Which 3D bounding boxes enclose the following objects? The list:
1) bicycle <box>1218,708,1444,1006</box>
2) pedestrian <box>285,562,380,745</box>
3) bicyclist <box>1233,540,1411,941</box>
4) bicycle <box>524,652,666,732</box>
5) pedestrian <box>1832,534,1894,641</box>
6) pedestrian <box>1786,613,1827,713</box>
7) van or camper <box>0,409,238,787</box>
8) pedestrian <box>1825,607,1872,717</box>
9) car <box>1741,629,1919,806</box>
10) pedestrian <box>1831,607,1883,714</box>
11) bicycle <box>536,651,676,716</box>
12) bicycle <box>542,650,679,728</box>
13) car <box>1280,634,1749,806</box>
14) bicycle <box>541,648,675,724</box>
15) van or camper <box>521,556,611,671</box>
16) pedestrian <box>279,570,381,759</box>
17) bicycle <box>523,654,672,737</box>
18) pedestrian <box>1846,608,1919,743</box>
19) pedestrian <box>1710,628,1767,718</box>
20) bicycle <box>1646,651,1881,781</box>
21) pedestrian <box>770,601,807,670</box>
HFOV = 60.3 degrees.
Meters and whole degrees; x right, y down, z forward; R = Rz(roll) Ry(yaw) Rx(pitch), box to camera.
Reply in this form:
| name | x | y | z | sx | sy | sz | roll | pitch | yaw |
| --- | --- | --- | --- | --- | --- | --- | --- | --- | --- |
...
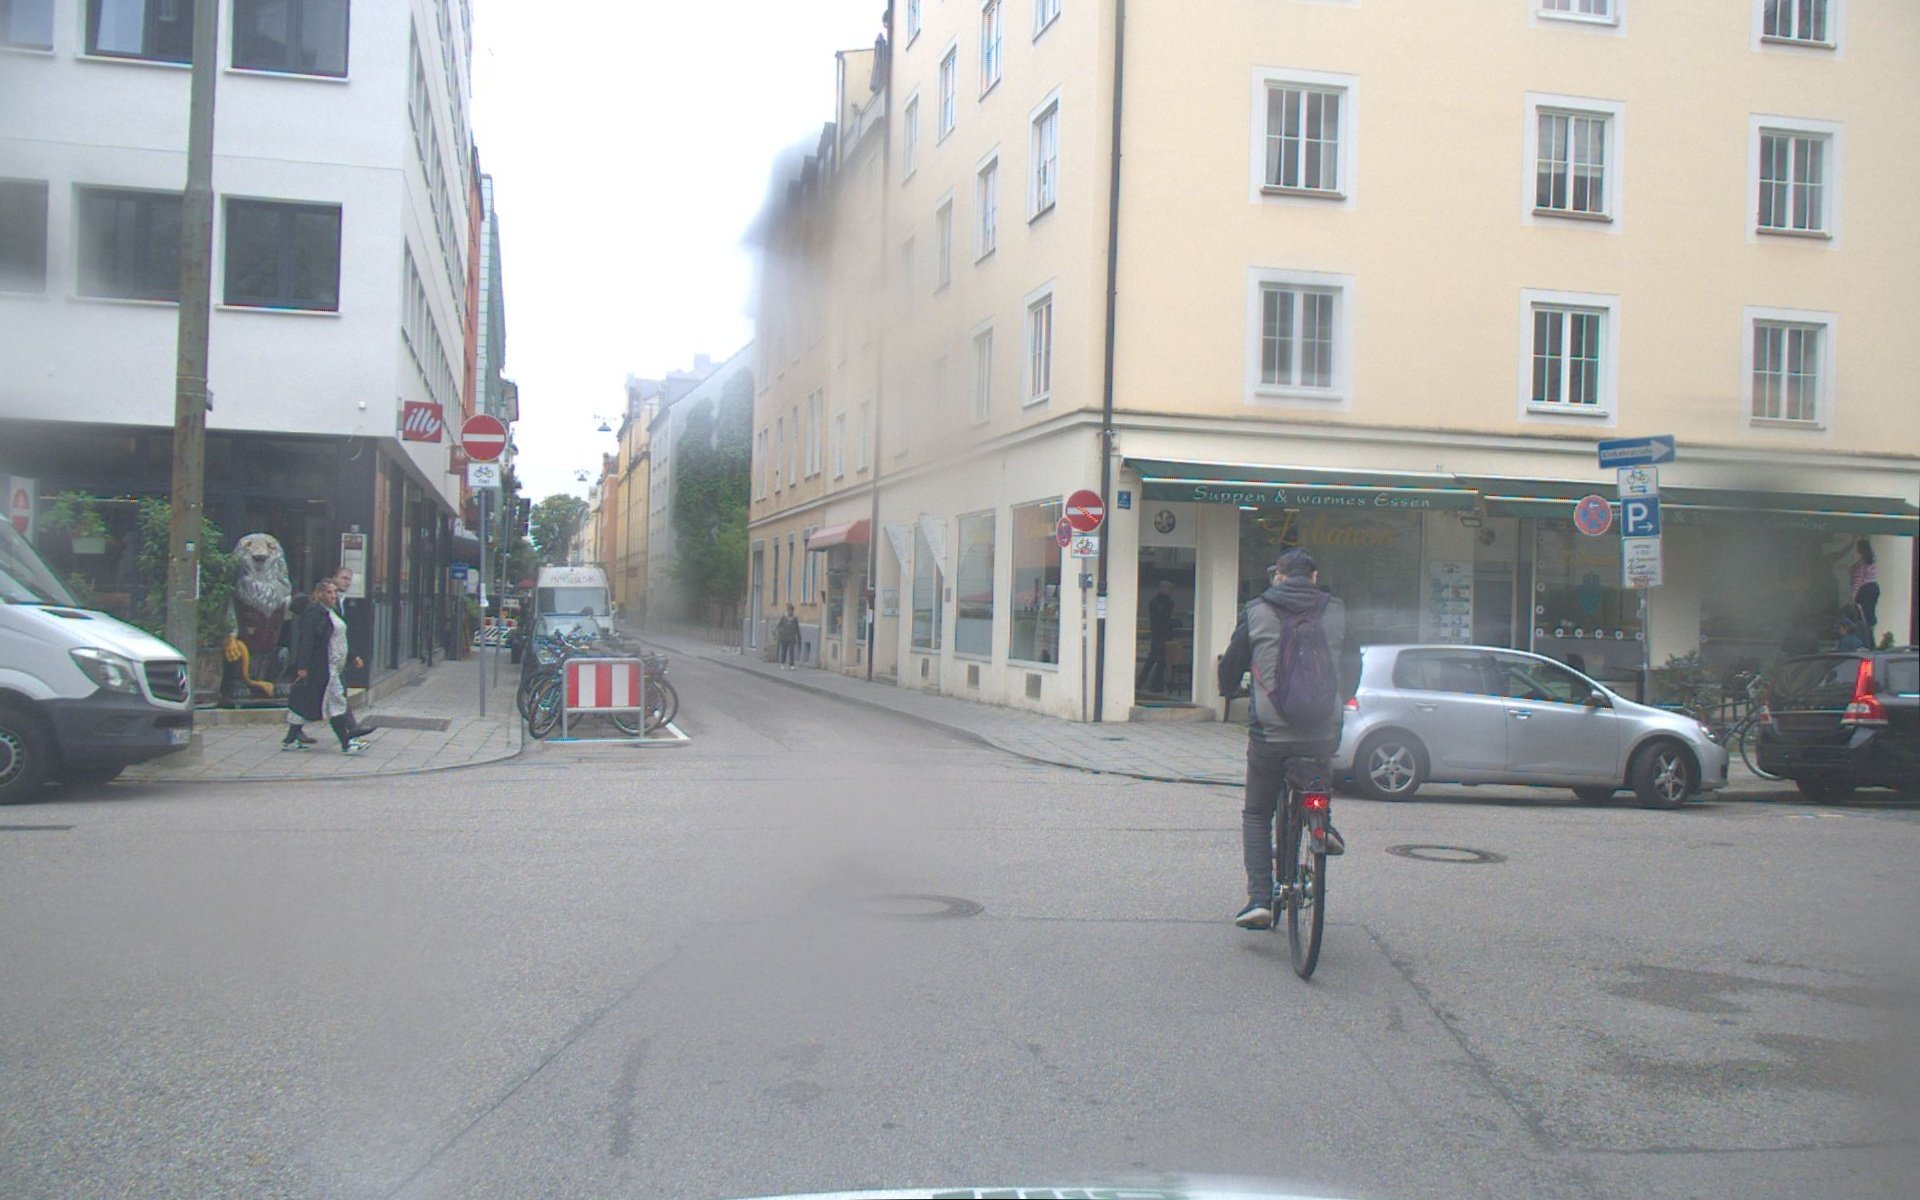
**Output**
| name | x | y | z | sx | sy | sz | roll | pitch | yaw |
| --- | --- | --- | --- | --- | --- | --- | --- | --- | --- |
| bicycle | 1.543 | 1.034 | 7.113 | 0.626 | 1.022 | 1.574 | 2 | 0 | 2 |
| pedestrian | -6.482 | 0.549 | 17.075 | 0.768 | 1.814 | 0.614 | 3 | 1 | -27 |
| bicyclist | 1.552 | 0.575 | 7.183 | 0.593 | 1.635 | 0.757 | 1 | 0 | 1 |
| bicycle | -4.637 | 1.168 | 21.009 | 1.709 | 0.985 | 0.541 | 1 | -1 | -18 |
| pedestrian | 13.896 | -0.193 | 25.450 | 0.542 | 1.602 | 0.576 | 3 | -1 | -12 |
| pedestrian | 12.684 | 0.936 | 24.772 | 0.502 | 1.458 | 0.582 | 1 | -1 | 29 |
| van or camper | -8.830 | -0.034 | 12.506 | 5.798 | 2.724 | 1.868 | 1 | -2 | -11 |
| pedestrian | 13.051 | 0.898 | 24.298 | 0.545 | 1.564 | 0.434 | 2 | 1 | 30 |
| car | 10.252 | 1.175 | 16.497 | 4.260 | 1.620 | 1.815 | 2 | -2 | -12 |
| pedestrian | 13.439 | 0.905 | 24.791 | 0.428 | 1.578 | 0.530 | 2 | -1 | -29 |
| bicycle | -5.051 | 1.194 | 23.607 | 1.881 | 0.878 | 0.615 | 1 | -1 | -18 |
| bicycle | -4.588 | 1.169 | 21.725 | 1.709 | 0.985 | 0.541 | 1 | -1 | -18 |
| car | 5.223 | 1.151 | 15.938 | 3.906 | 1.441 | 1.820 | 2 | -4 | -1 |
| bicycle | -4.756 | 1.161 | 22.328 | 1.709 | 0.985 | 0.541 | 1 | -1 | -18 |
| van or camper | -9.503 | 0.325 | 40.147 | 1.959 | 2.584 | 4.745 | 1 | 0 | -12 |
| pedestrian | -6.222 | 0.628 | 16.329 | 0.781 | 1.776 | 0.765 | 3 | 1 | -27 |
| bicycle | -4.459 | 1.172 | 20.346 | 1.727 | 0.985 | 0.592 | 1 | -1 | -18 |
| pedestrian | 12.173 | 0.990 | 21.834 | 0.591 | 1.731 | 0.542 | 1 | 1 | -10 |
| pedestrian | 11.659 | 1.091 | 24.764 | 0.507 | 1.319 | 0.576 | 2 | -1 | -33 |
| bicycle | 8.821 | 1.261 | 18.216 | 2.045 | 1.275 | 1.104 | 3 | 0 | -11 |
| pedestrian | -4.576 | 0.945 | 44.132 | 0.862 | 1.809 | 0.771 | 1 | -1 | -13 |
